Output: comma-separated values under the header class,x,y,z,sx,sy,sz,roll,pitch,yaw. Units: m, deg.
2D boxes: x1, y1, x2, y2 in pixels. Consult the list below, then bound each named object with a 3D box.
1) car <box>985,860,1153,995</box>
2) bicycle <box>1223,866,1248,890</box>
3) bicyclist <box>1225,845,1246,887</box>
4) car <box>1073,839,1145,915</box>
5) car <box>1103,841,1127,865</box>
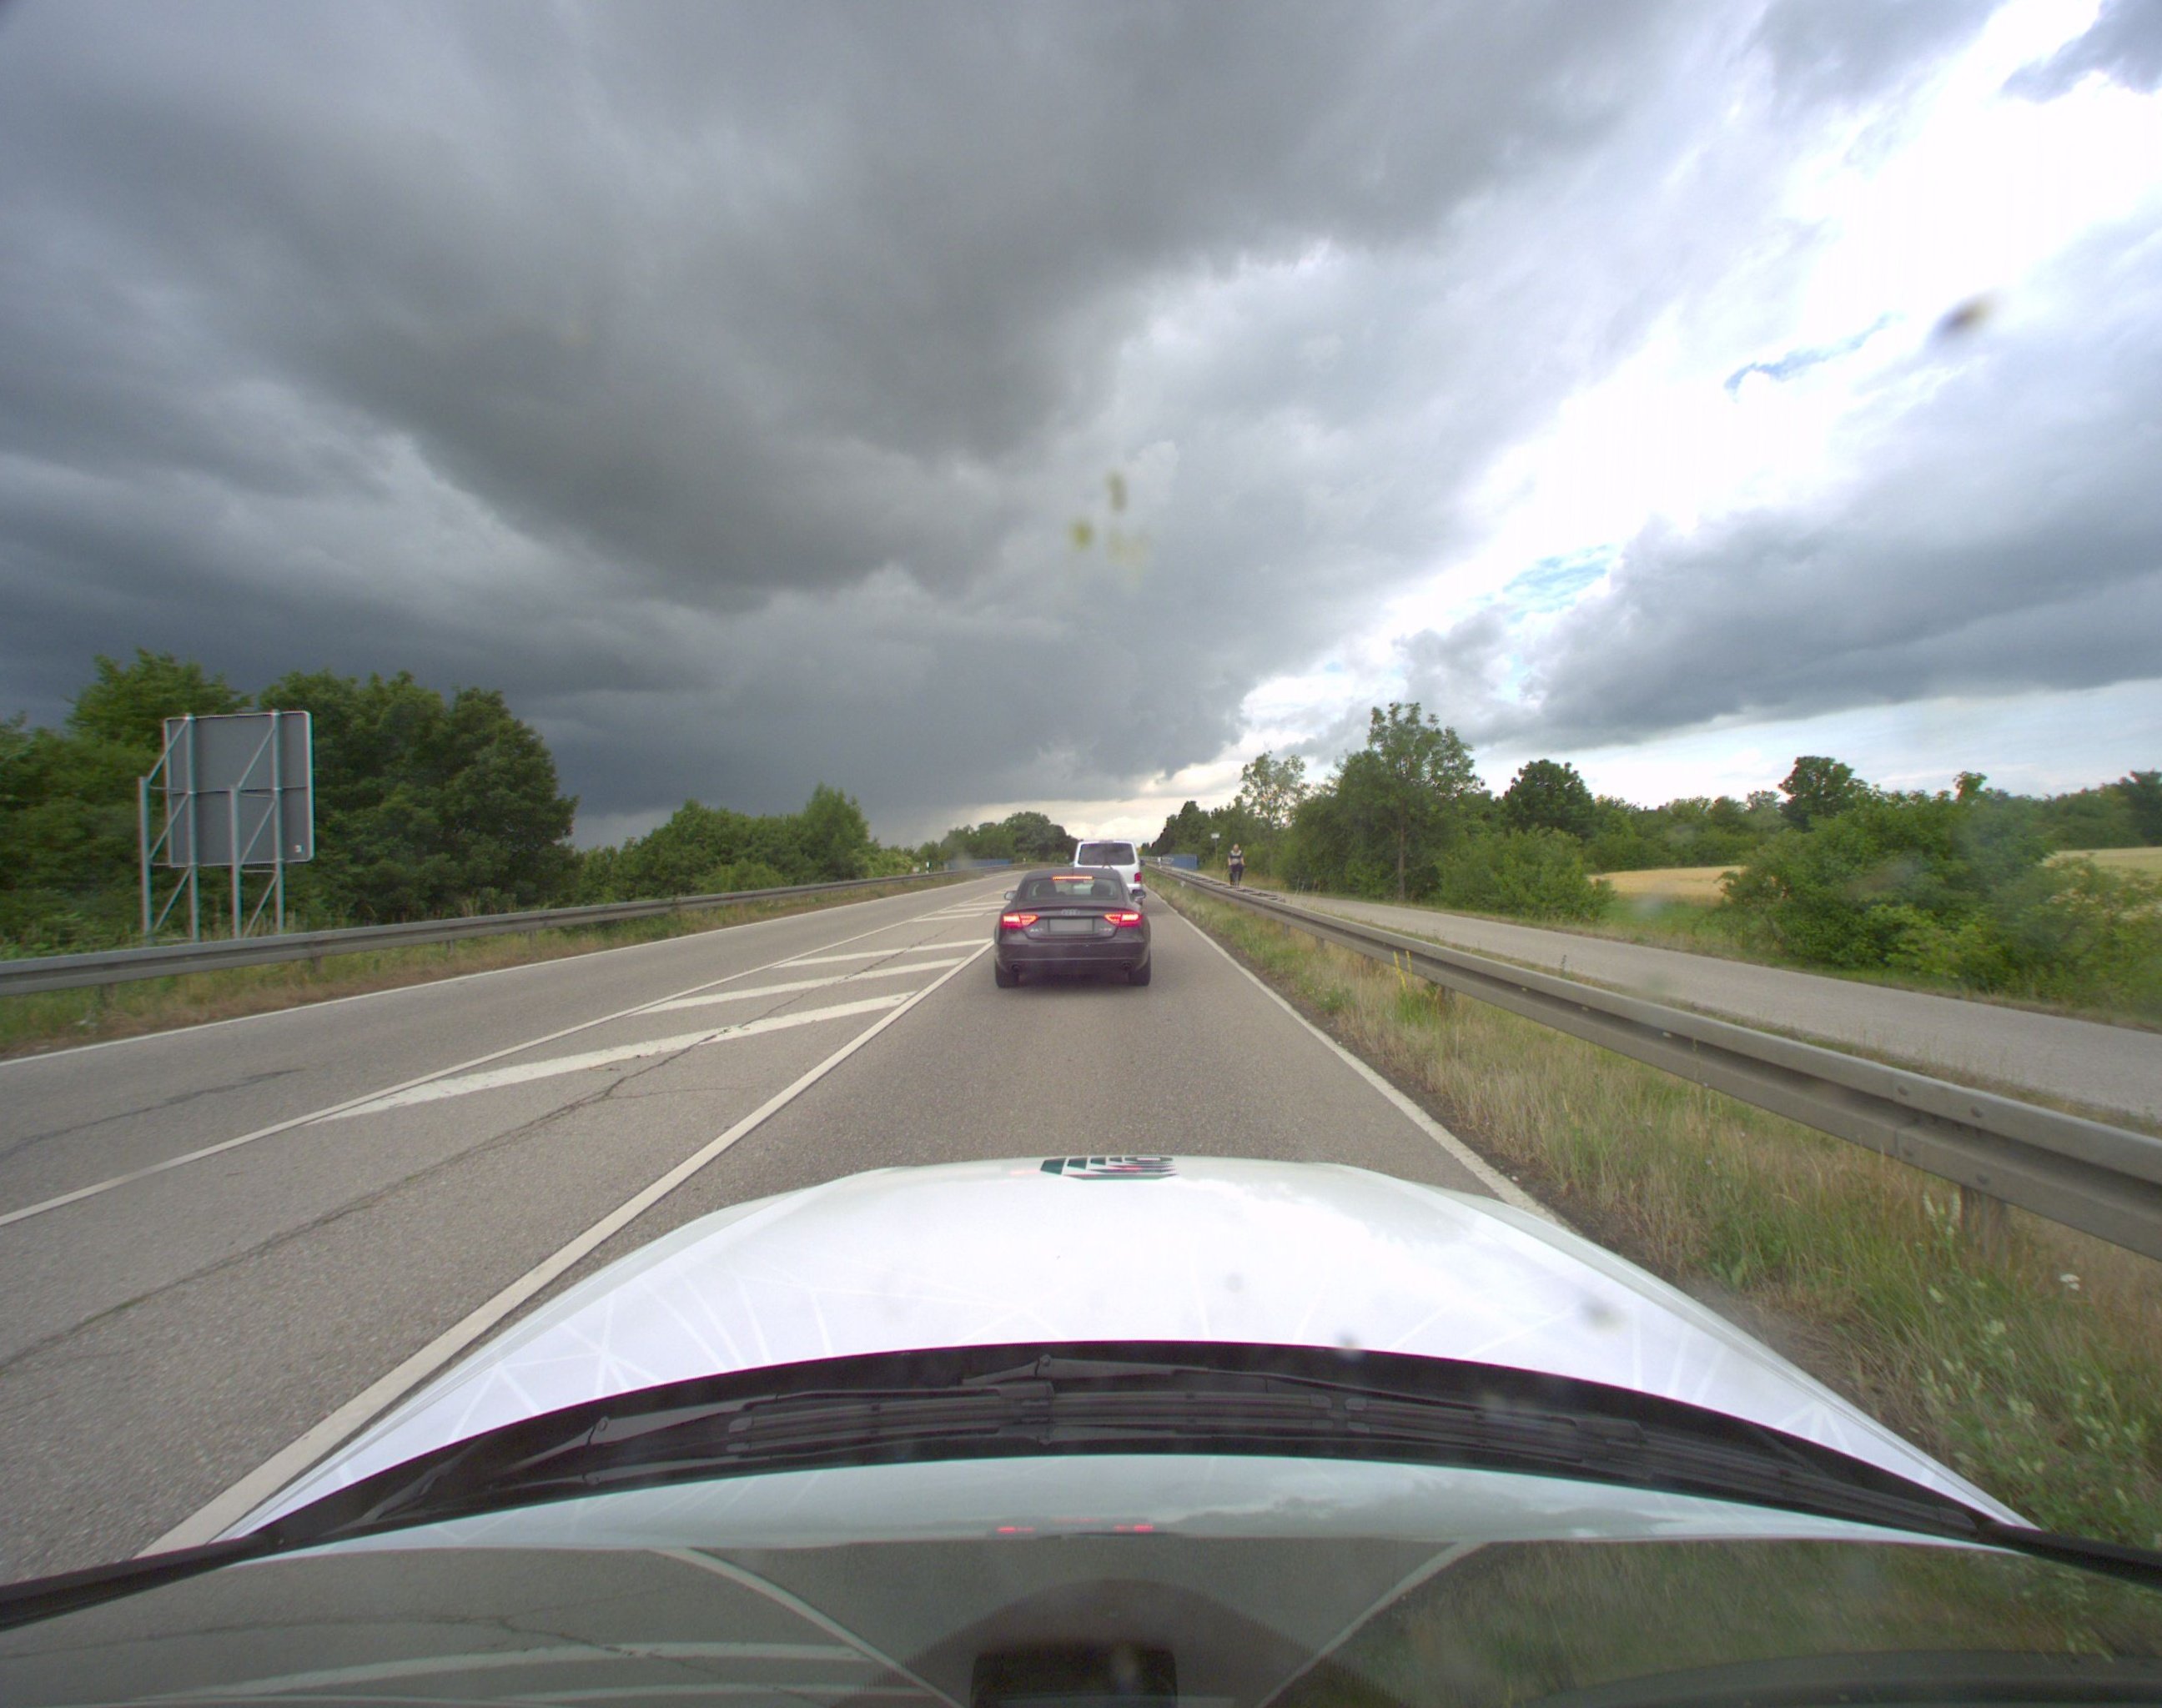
class,x,y,z,sx,sy,sz,roll,pitch,yaw
car,-0.061,0.809,10.669,1.779,1.424,4.002,-1,-1,2
bicycle,6.211,0.963,32.800,0.663,0.920,1.831,-2,-1,2
bicyclist,6.185,0.470,32.647,0.644,1.645,0.866,-2,-1,2
car,0.762,0.592,22.362,1.779,1.890,4.002,-1,-1,2
car,3.719,-0.111,88.829,2.438,2.504,5.044,-1,0,2
